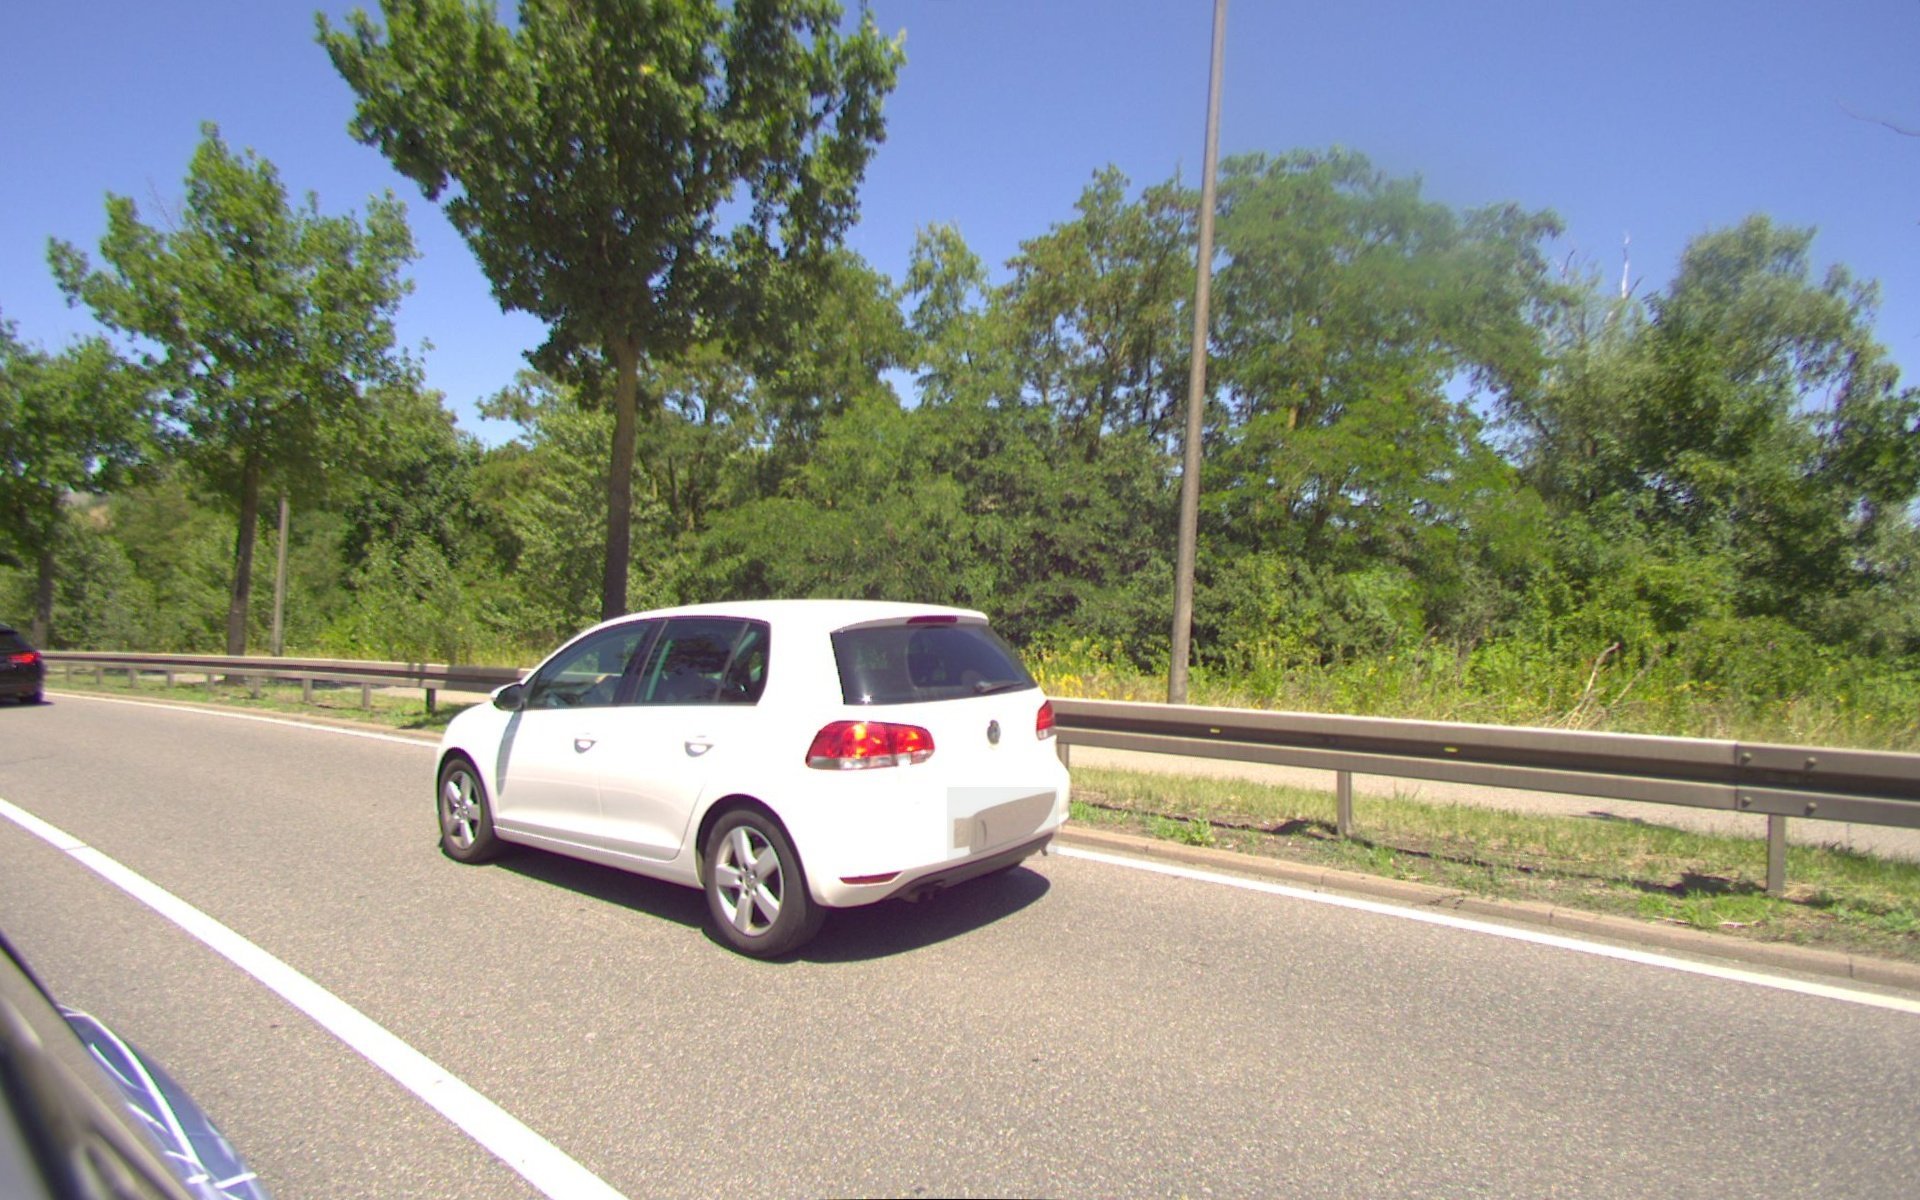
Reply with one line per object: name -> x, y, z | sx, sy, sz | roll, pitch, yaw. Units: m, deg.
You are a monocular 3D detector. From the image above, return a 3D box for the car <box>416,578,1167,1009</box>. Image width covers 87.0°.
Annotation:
car -> -1.126, 0.675, 5.355 | 4.020, 1.449, 1.707 | -1, 0, 40

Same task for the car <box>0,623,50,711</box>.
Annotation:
car -> -17.513, 1.134, 17.296 | 4.658, 1.391, 1.861 | -1, 0, 34
